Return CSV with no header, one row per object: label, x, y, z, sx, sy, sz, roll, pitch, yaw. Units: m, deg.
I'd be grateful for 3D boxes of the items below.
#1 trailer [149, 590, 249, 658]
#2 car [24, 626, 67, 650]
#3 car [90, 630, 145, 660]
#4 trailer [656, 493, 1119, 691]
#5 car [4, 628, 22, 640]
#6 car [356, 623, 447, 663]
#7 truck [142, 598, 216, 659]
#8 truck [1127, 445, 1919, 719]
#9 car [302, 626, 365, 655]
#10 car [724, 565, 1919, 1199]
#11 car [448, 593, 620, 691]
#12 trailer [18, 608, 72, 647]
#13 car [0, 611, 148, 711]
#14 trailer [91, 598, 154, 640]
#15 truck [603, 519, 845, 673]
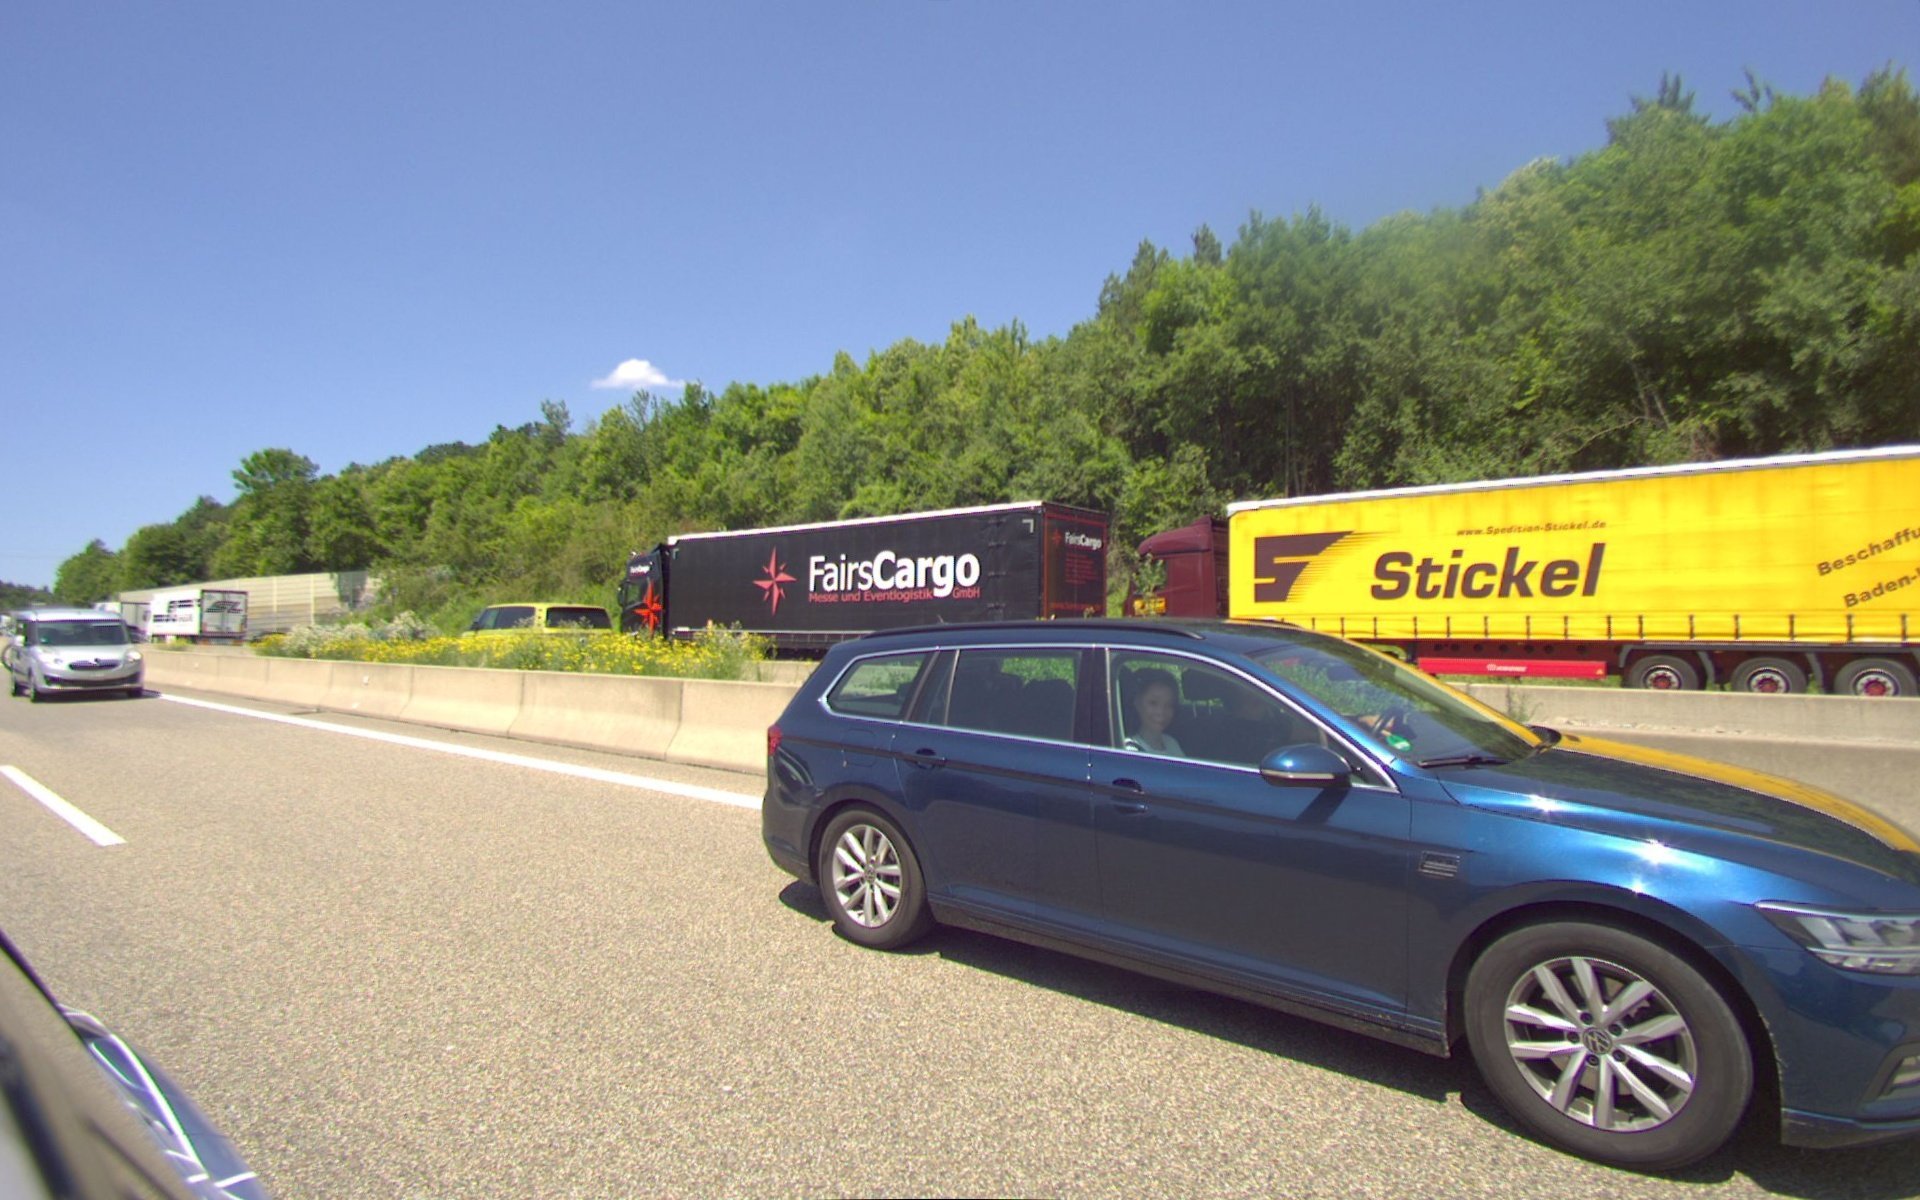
trailer,-53.329,1.634,70.652,14.032,4.371,2.773,-1,-3,42
car,-69.772,2.878,77.160,4.785,1.769,1.864,-2,-1,41
car,-44.442,2.346,53.364,3.997,1.530,1.547,-2,-3,41
trailer,-2.646,-0.037,26.088,13.880,4.004,2.876,-1,-3,41
car,-162.869,5.913,174.036,3.998,2.029,1.973,-2,-1,41
car,-20.000,1.532,36.207,3.997,1.377,1.547,-2,-3,41
truck,-57.200,2.068,74.045,7.596,4.197,2.774,-1,-3,41
truck,11.025,-0.186,19.432,16.255,4.013,3.006,-1,-2,41
car,-31.033,1.984,50.092,3.997,1.377,1.547,-2,-3,41
car,1.183,0.714,4.064,4.727,1.438,1.714,-1,-3,41
car,-9.796,0.919,23.089,4.466,2.029,1.860,-2,-1,41
trailer,-104.838,3.081,115.843,14.733,4.197,2.805,-1,-3,42
car,-18.345,1.199,20.907,3.998,1.858,1.757,-2,-2,41
trailer,-86.261,1.925,104.156,12.619,4.078,2.778,-1,-3,41
truck,-7.155,-0.008,29.985,7.764,4.004,2.876,-1,-3,41
